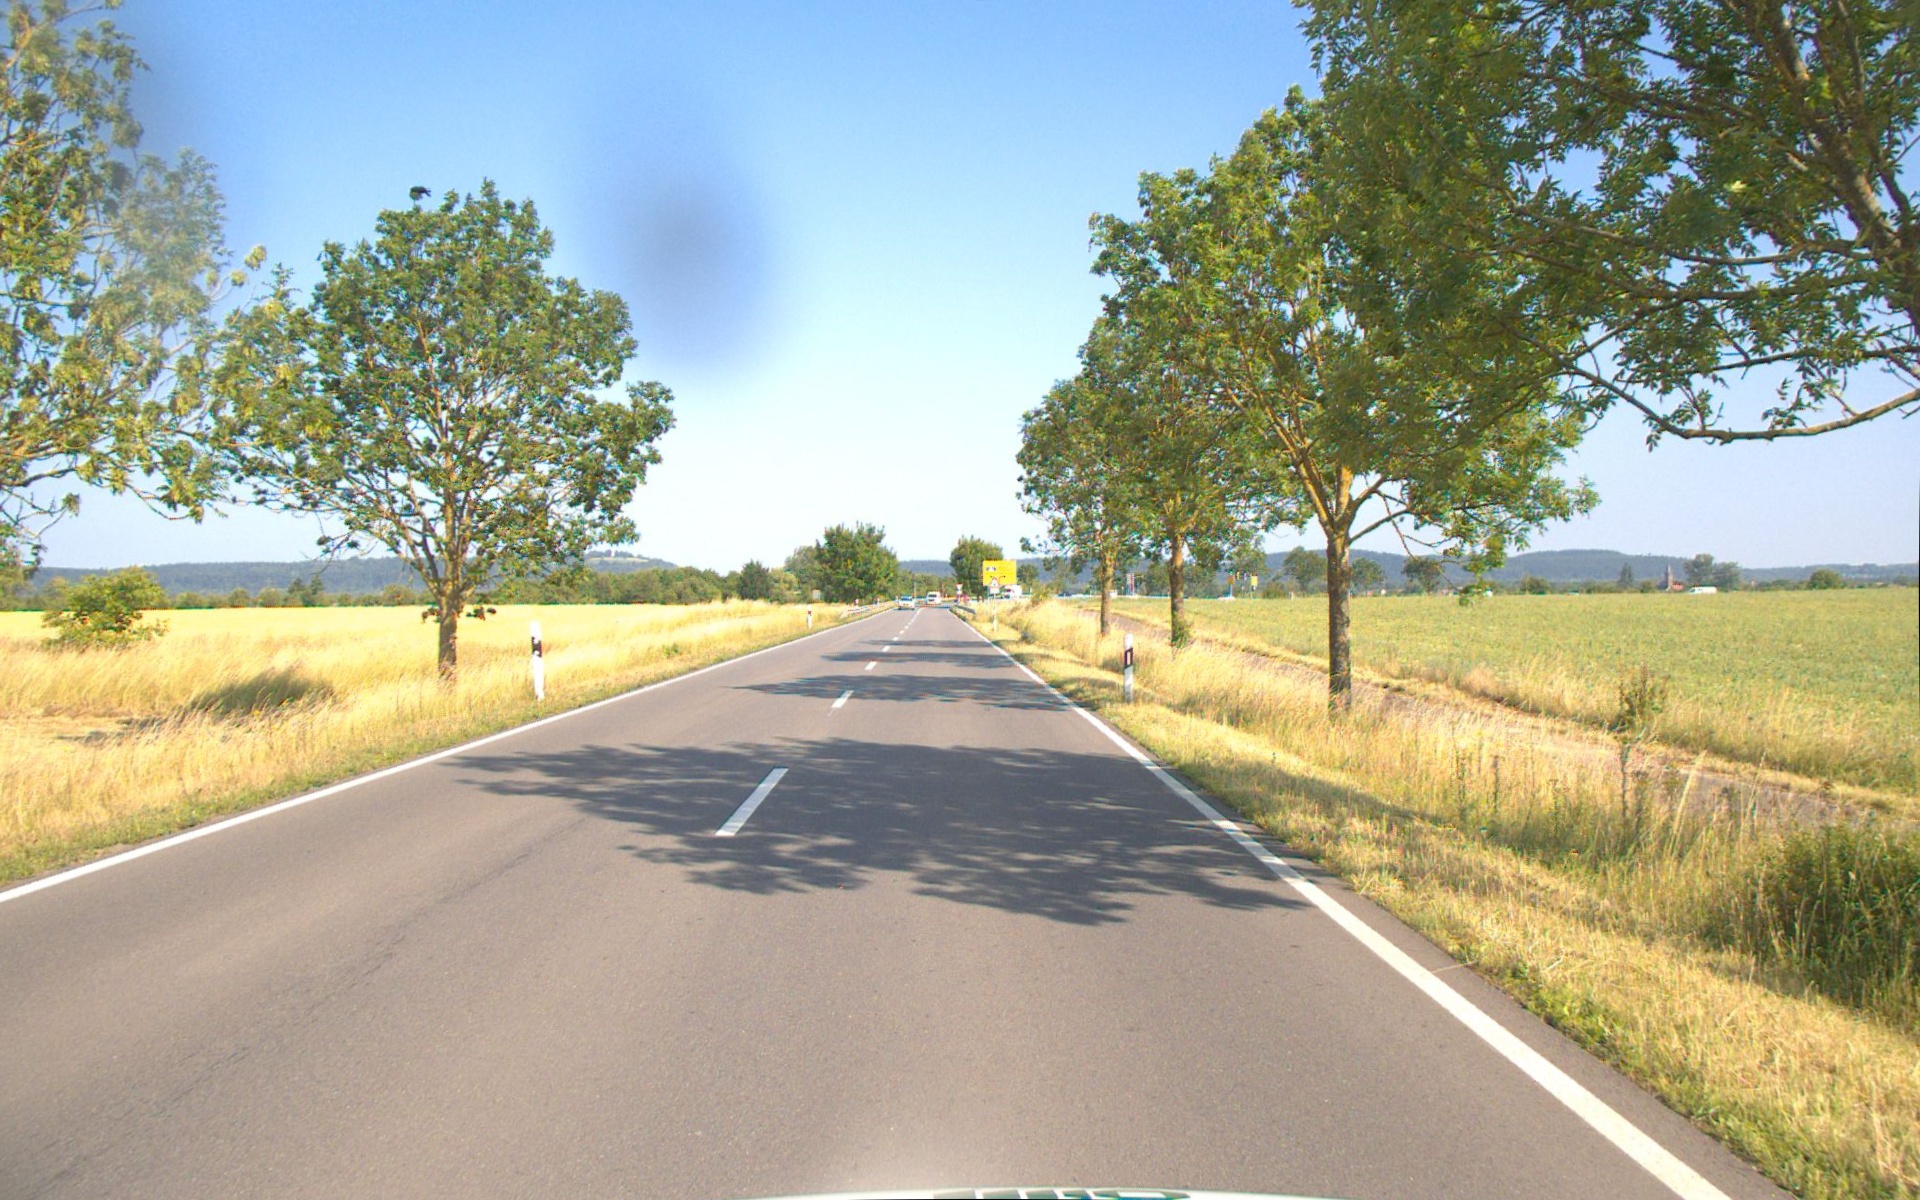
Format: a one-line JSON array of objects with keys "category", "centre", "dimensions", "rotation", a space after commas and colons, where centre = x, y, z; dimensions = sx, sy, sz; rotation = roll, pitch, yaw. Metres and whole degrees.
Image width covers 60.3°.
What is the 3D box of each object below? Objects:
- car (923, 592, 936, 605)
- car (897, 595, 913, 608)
[{"category": "car", "centre": [-4.358, -0.174, 237.582], "dimensions": [1.799, 1.818, 4.434], "rotation": [0, 0, -1]}, {"category": "car", "centre": [-6.213, 0.204, 187.424], "dimensions": [1.691, 1.462, 4.515], "rotation": [0, 0, -1]}]
